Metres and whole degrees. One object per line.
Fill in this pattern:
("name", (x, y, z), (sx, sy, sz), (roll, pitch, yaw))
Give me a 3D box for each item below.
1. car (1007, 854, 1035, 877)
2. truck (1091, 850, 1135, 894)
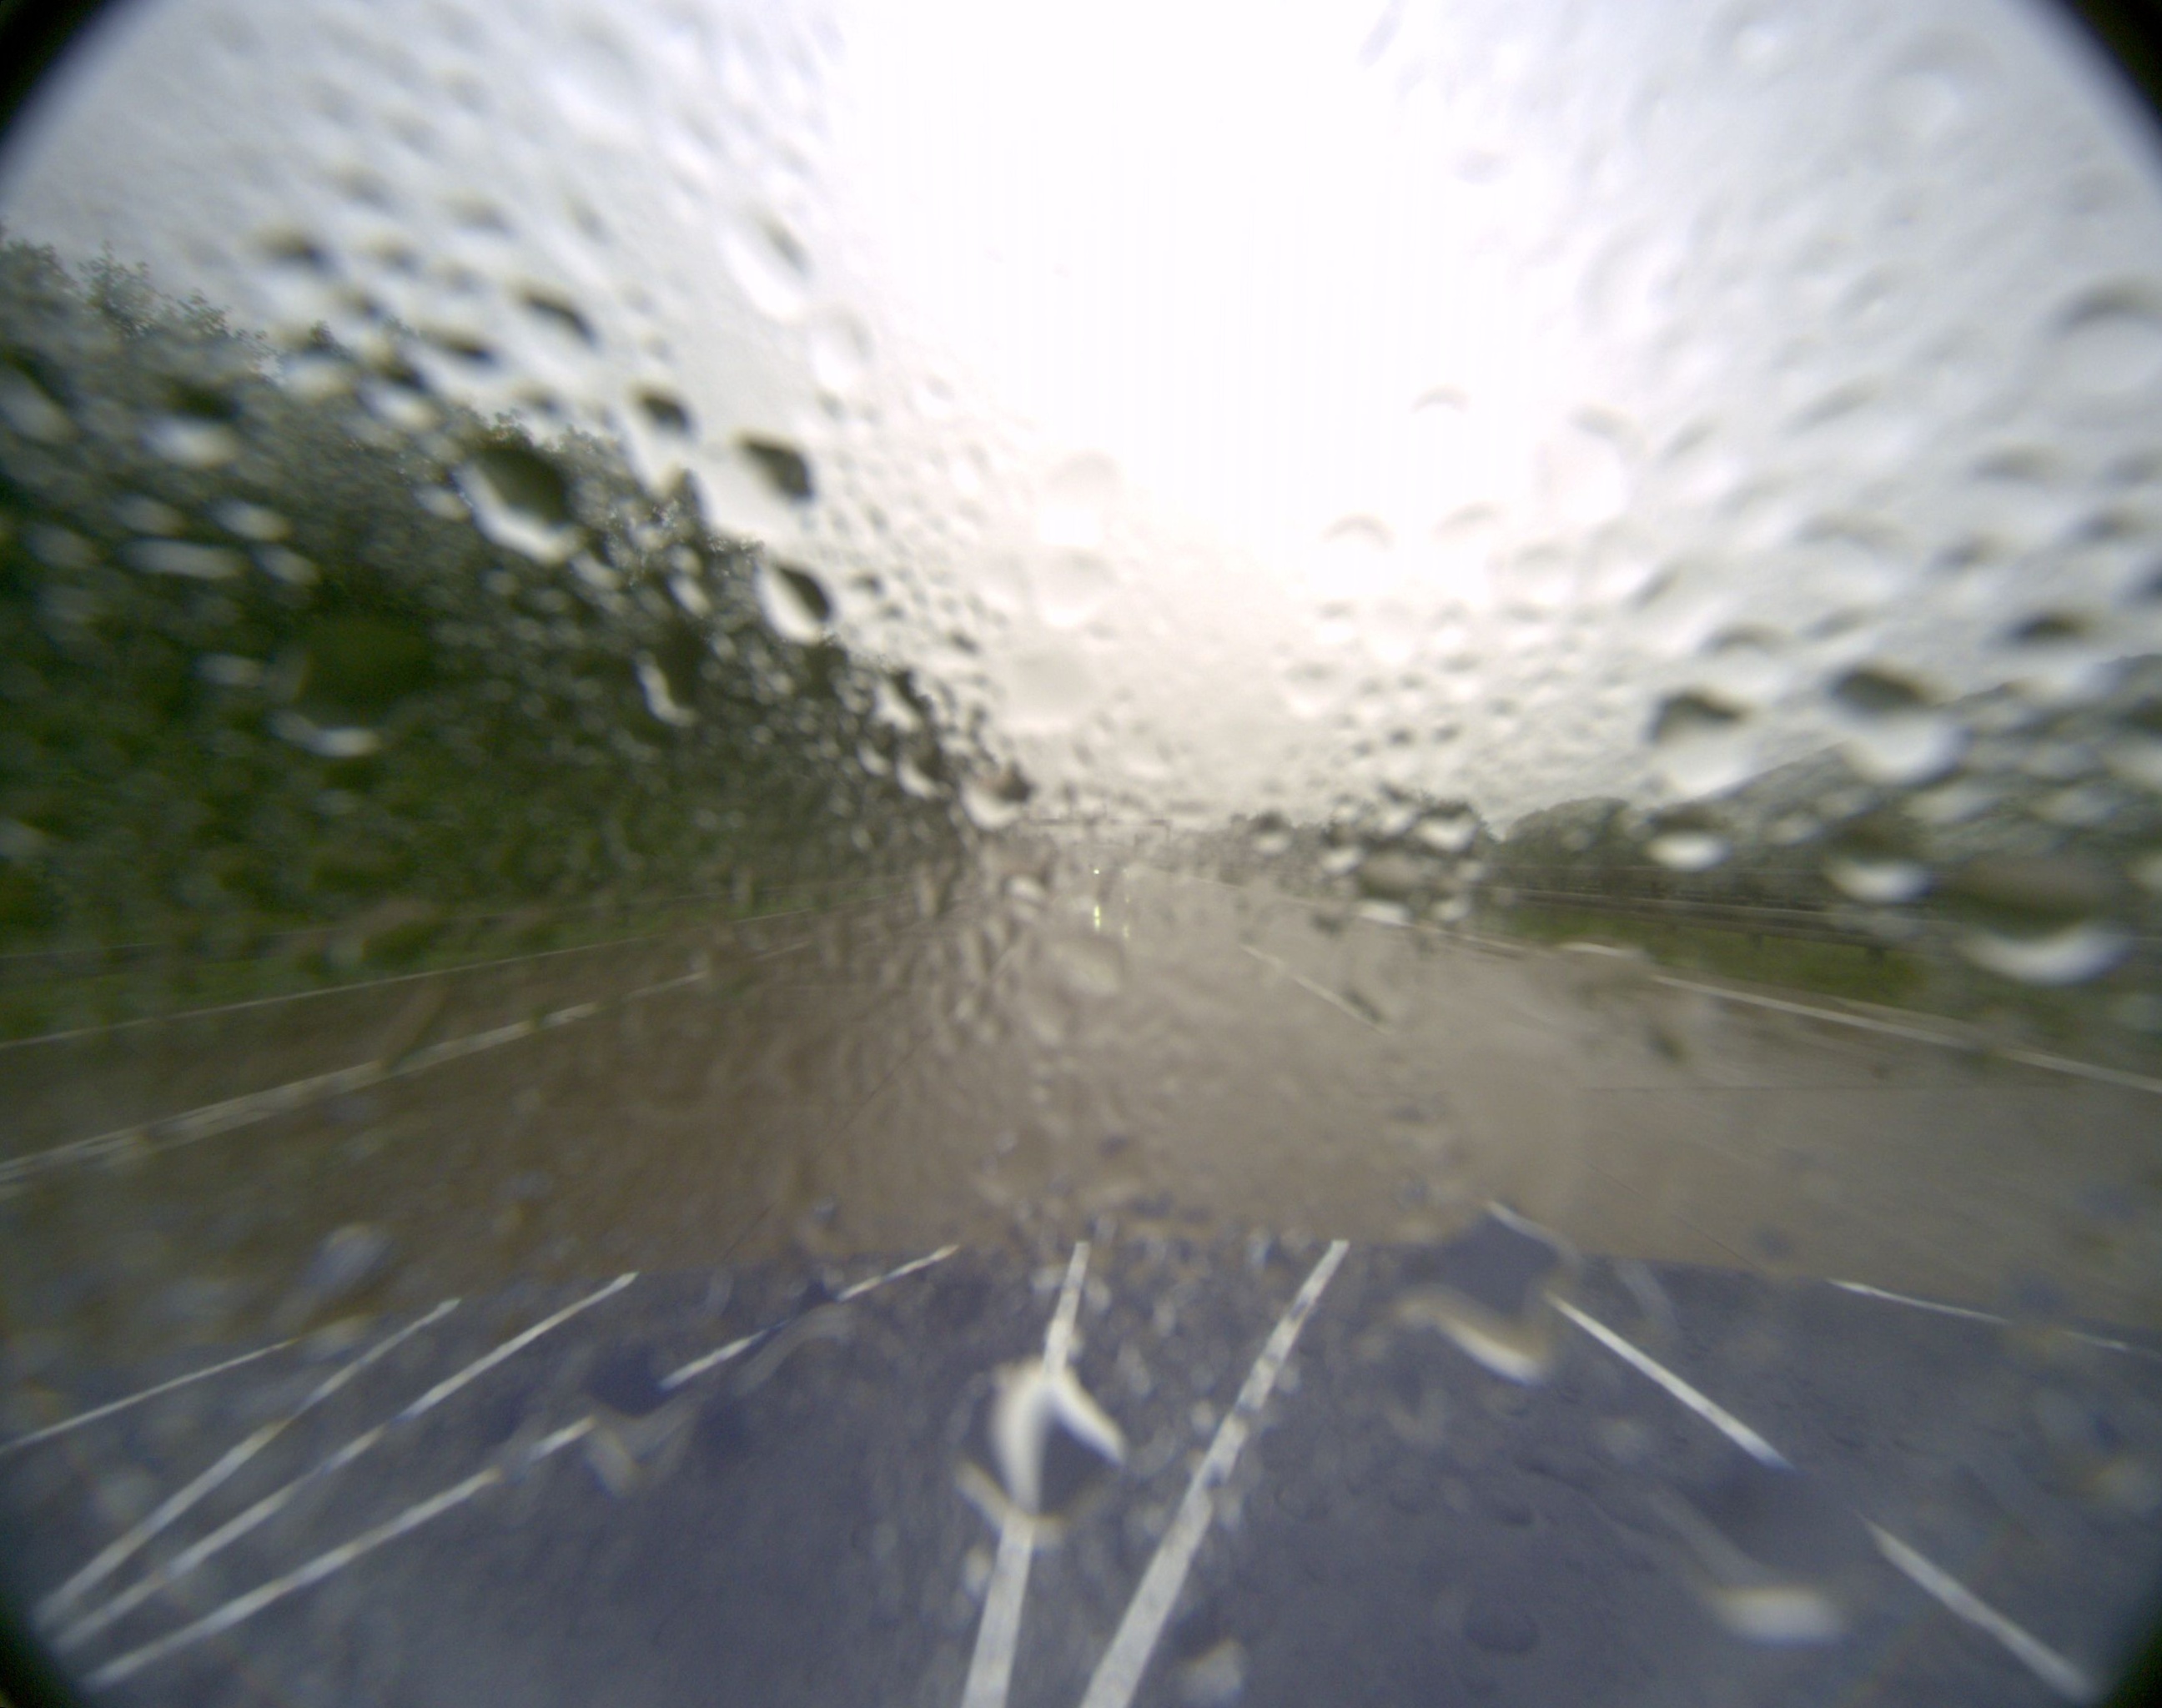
("car", (-5.490, 1.007, 69.809), (1.858, 2.002, 4.001), (-2, 0, 4))
("truck", (1.546, 0.826, 38.814), (1.998, 2.002, 7.575), (-1, 0, 1))
